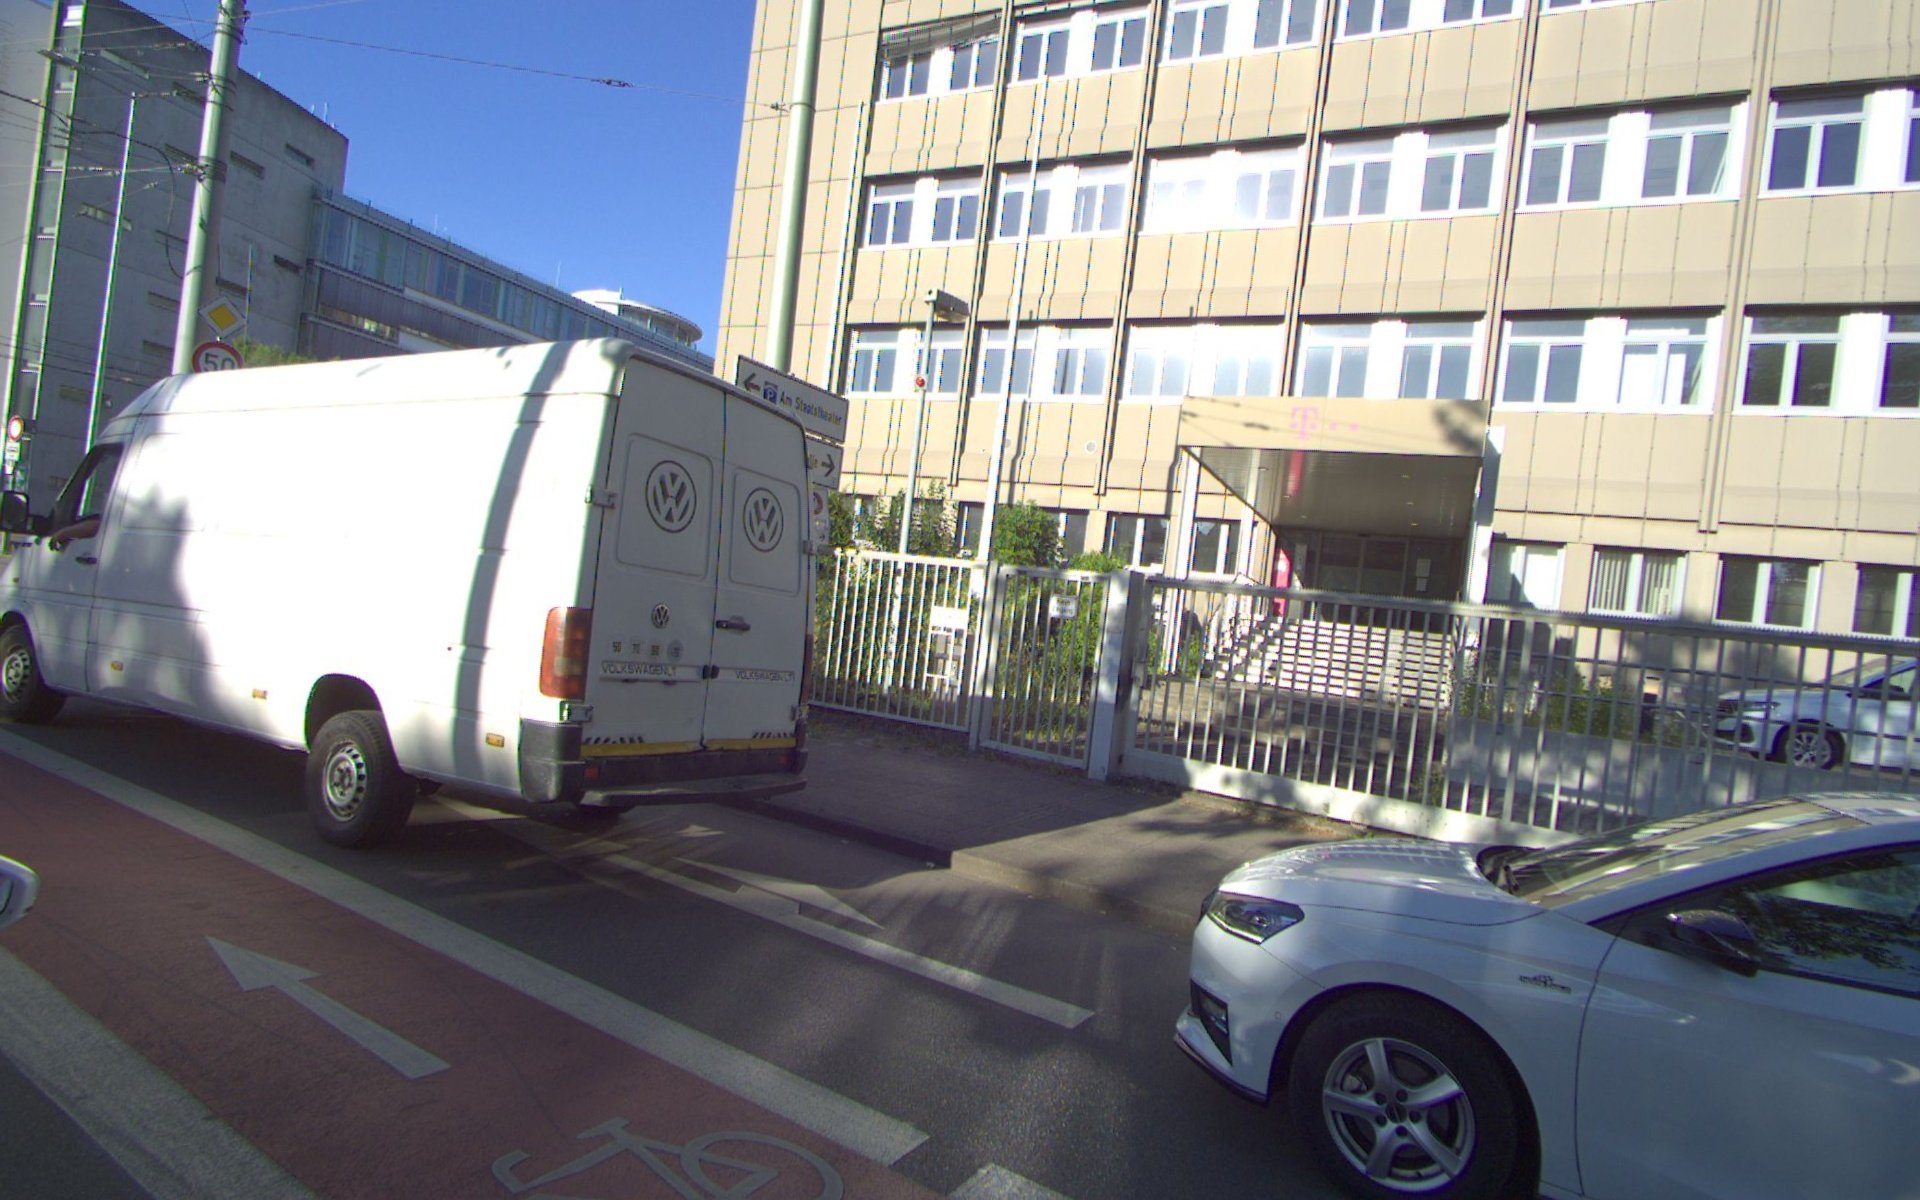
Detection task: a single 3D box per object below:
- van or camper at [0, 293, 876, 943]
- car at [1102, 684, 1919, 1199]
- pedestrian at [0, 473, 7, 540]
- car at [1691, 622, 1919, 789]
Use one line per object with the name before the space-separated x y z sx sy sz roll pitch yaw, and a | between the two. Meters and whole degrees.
van or camper | -3.821 -0.158 6.585 6.196 2.748 1.973 7 -1 29
car | 2.681 1.254 3.015 4.006 1.405 1.705 7 -1 30
pedestrian | -19.647 -1.669 19.975 1.198 1.846 0.777 7 1 39
car | 12.810 1.530 13.248 4.701 1.865 1.998 7 0 27
